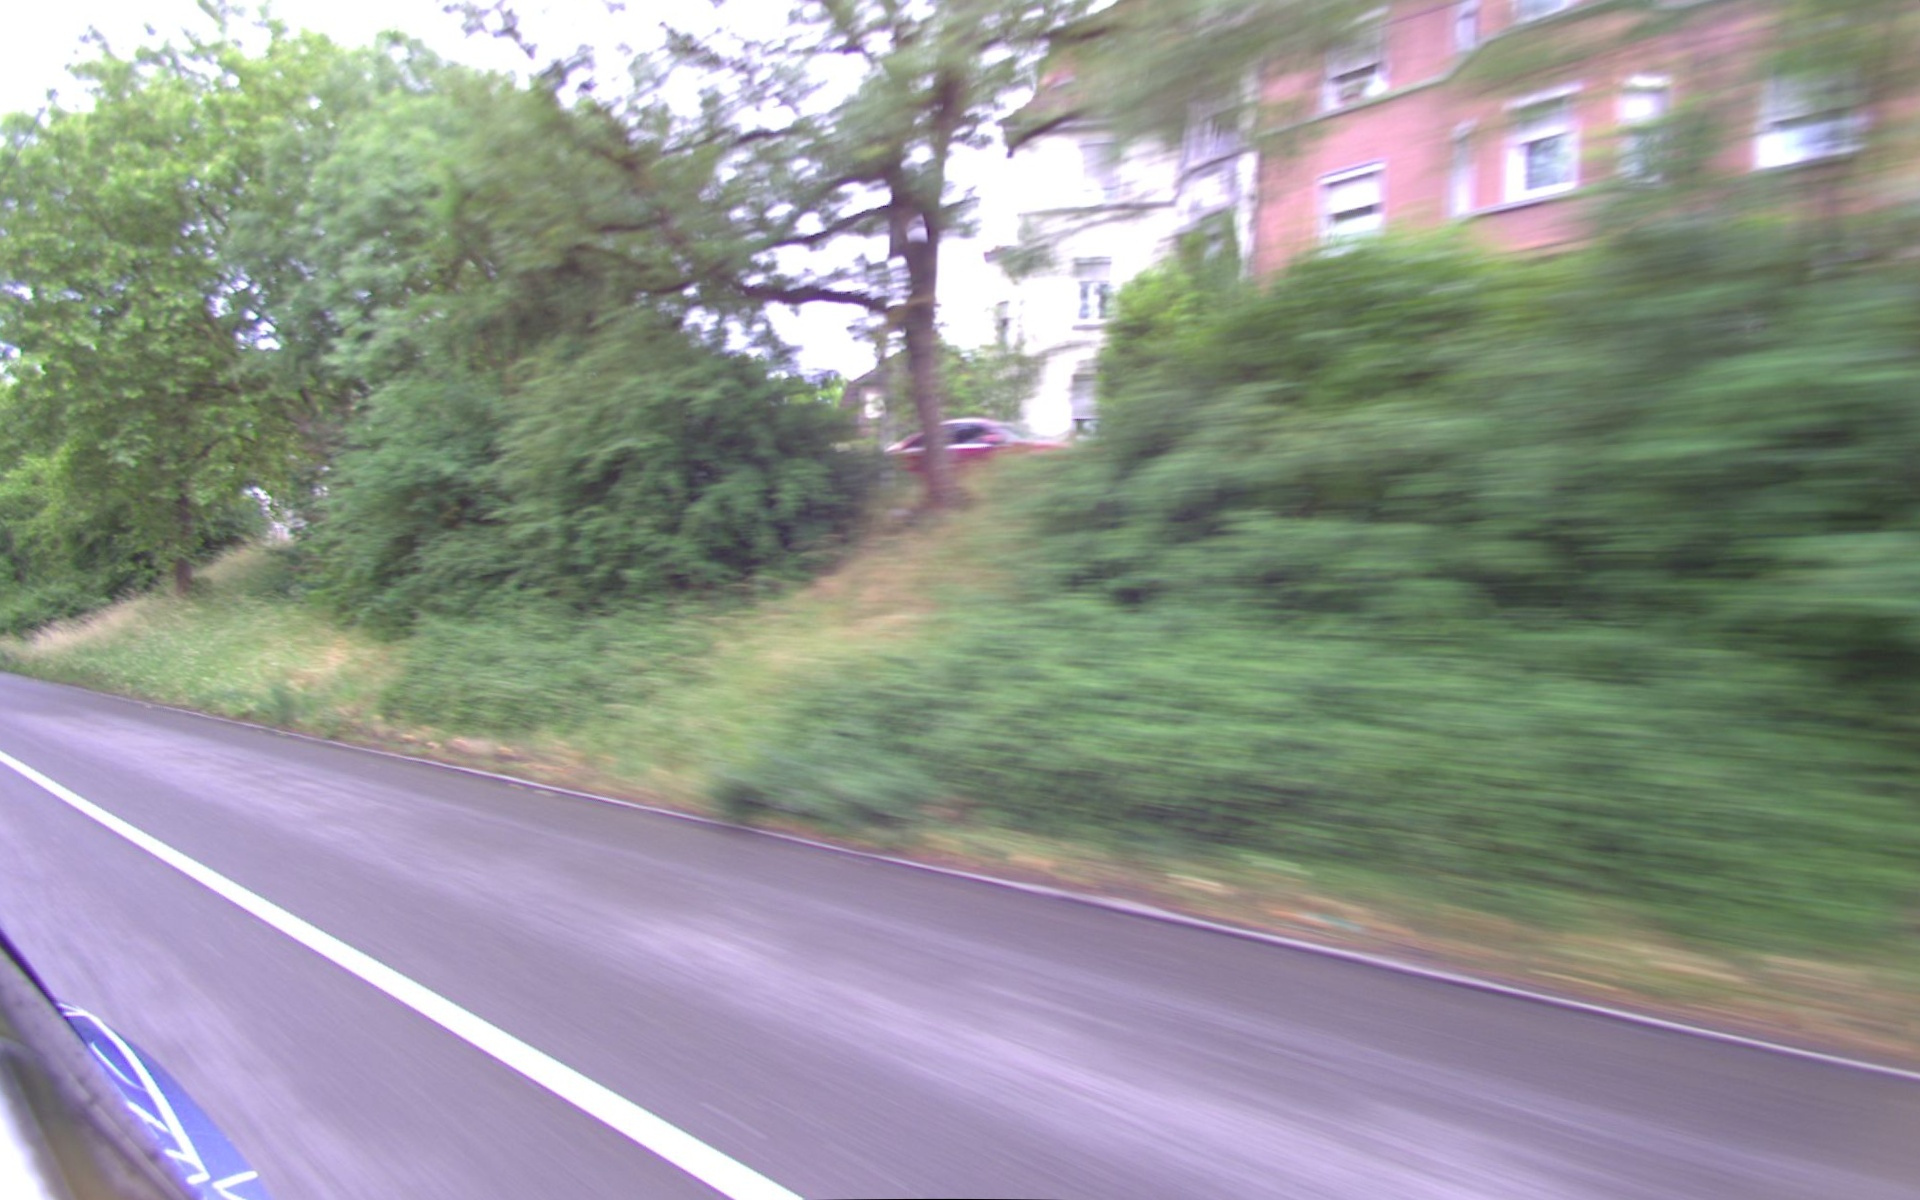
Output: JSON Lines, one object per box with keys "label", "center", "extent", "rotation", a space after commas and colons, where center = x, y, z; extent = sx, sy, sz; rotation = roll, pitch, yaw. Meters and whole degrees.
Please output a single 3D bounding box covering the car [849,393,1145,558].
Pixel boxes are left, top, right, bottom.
{"label": "car", "center": [0.490, -1.789, 15.938], "extent": [4.346, 2.029, 1.974], "rotation": [-1, 0, 39]}
